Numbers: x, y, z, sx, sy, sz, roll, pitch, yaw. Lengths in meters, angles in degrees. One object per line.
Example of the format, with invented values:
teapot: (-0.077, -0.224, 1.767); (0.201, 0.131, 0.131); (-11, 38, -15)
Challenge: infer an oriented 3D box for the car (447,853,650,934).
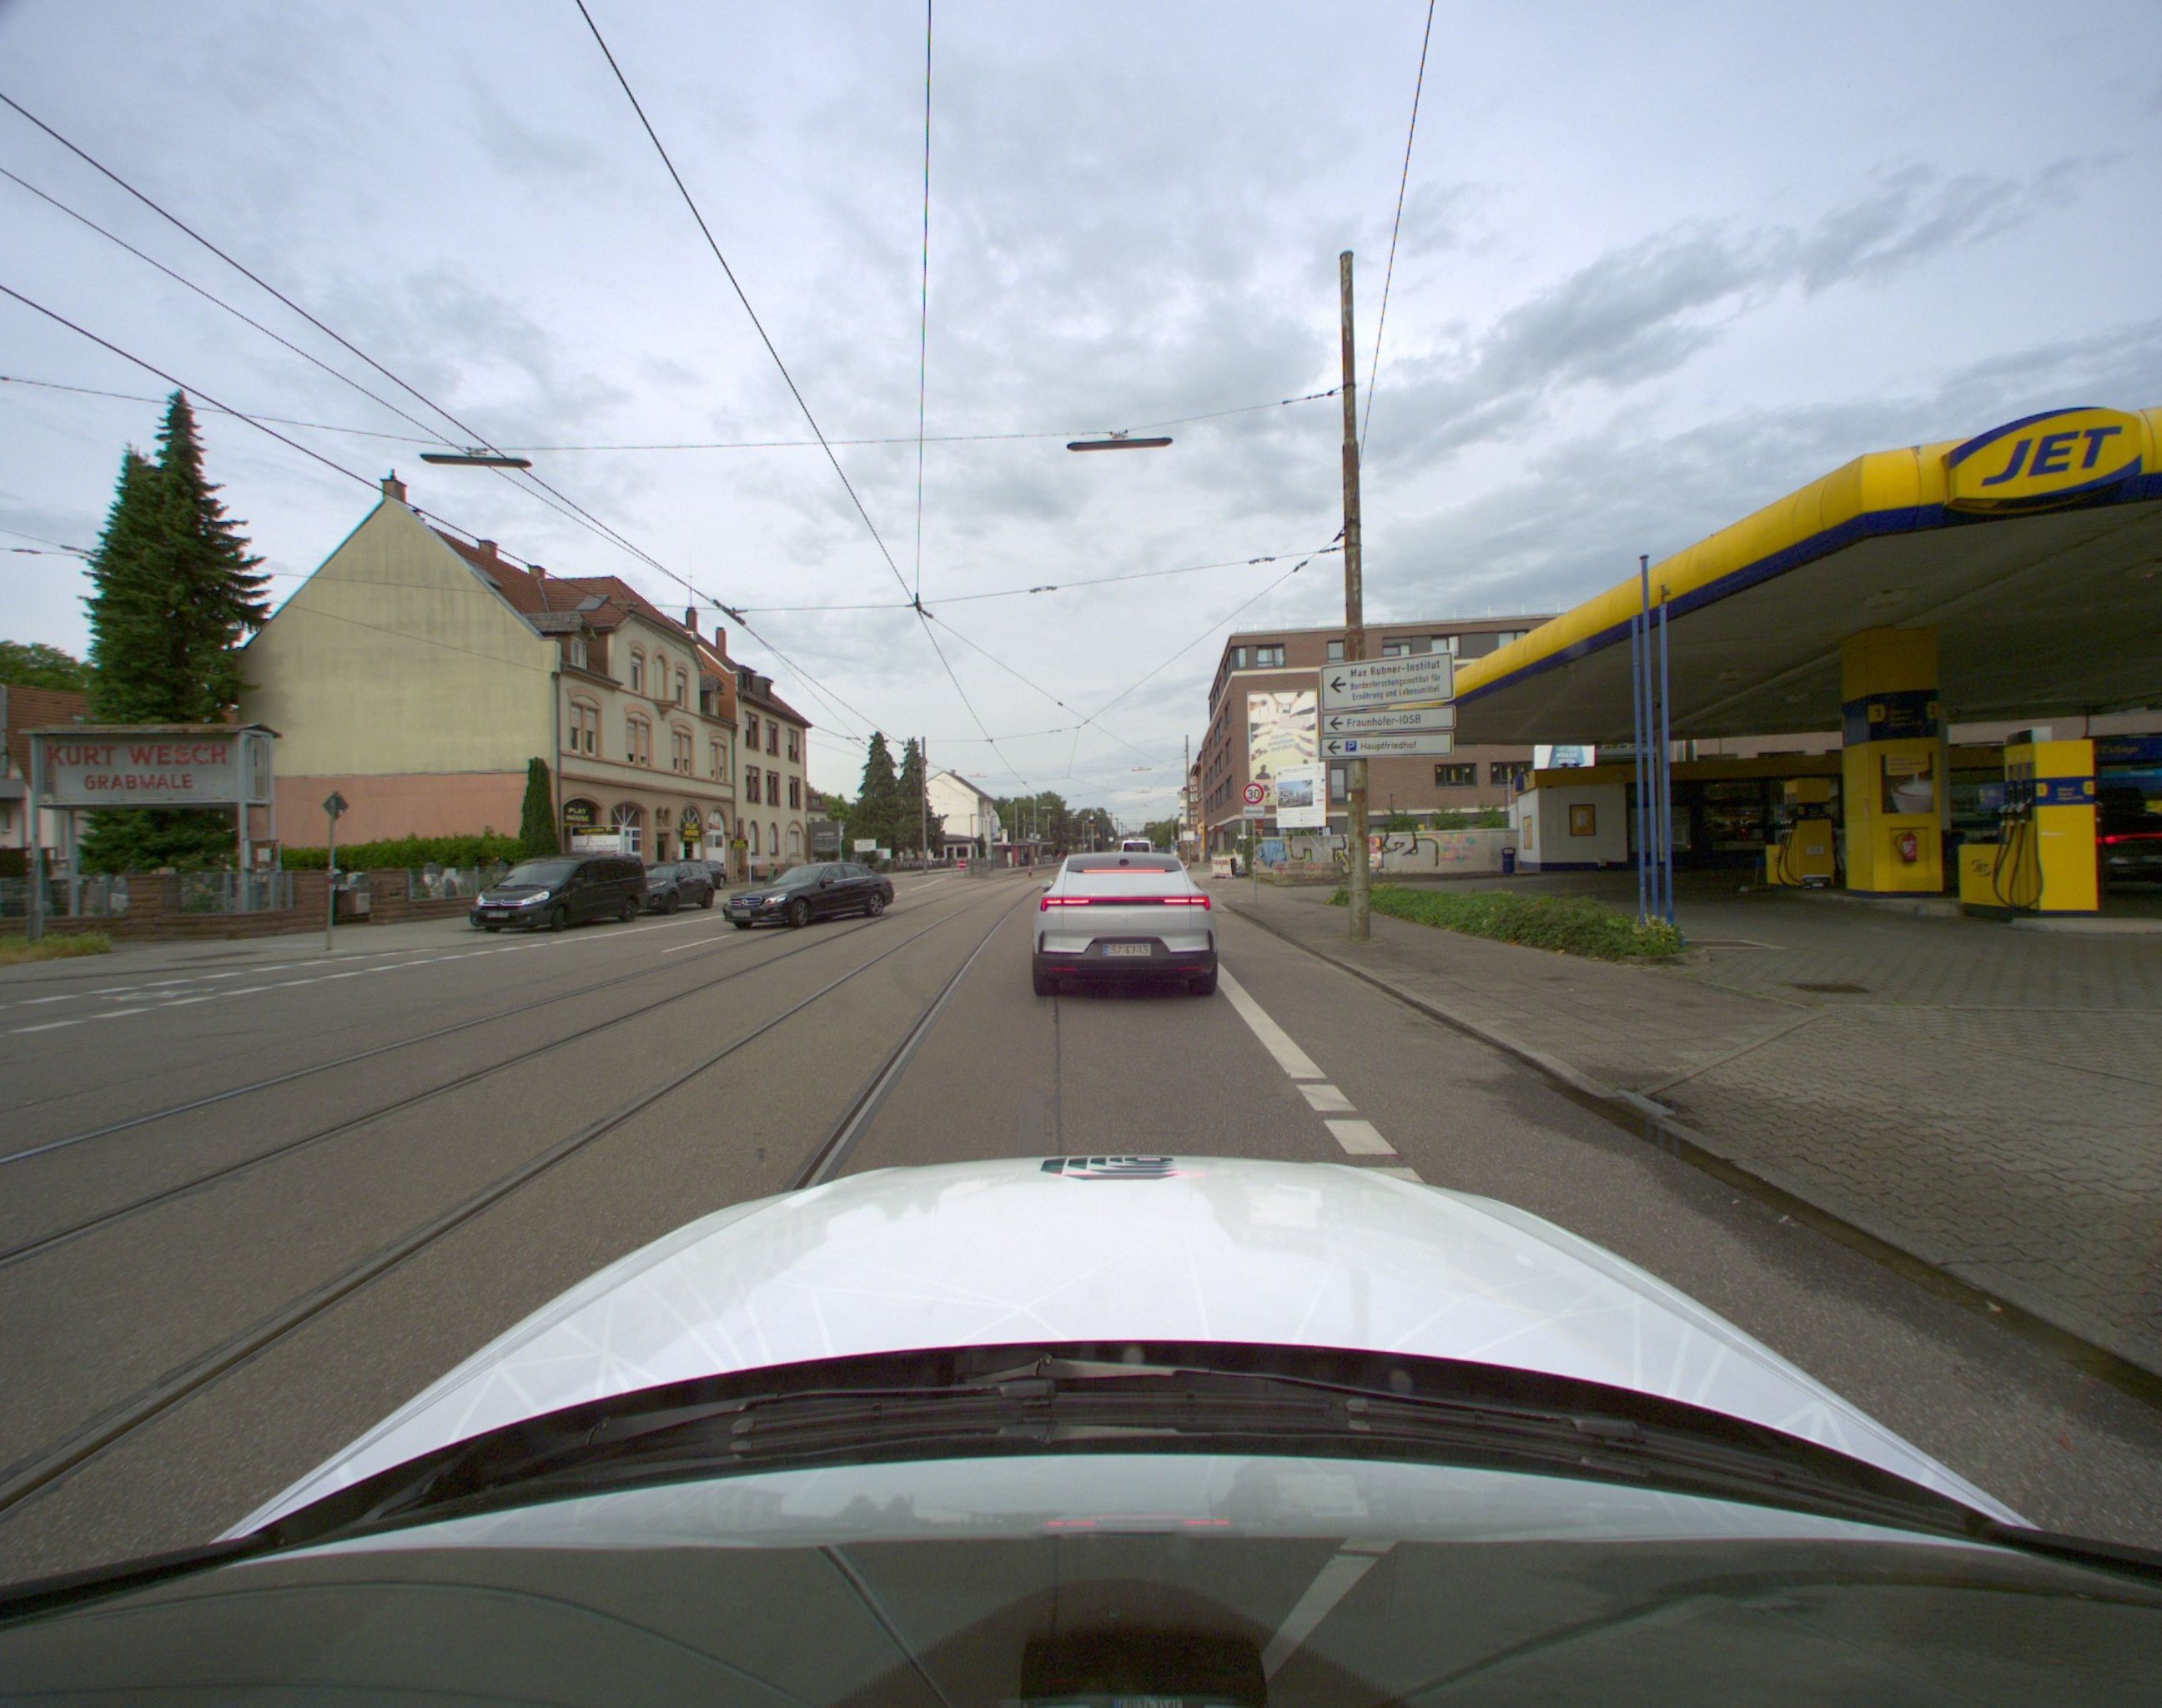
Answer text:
car: (-13.718, 0.936, 21.451); (1.985, 1.887, 4.998); (0, -1, 0)

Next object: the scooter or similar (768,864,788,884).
scooter or similar: (-17.646, 1.154, 47.479); (1.056, 1.188, 0.315); (1, -1, -35)

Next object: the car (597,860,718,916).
car: (-13.953, 1.077, 27.150); (1.839, 1.718, 4.191); (0, -1, -1)

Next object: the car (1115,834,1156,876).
car: (3.276, 0.076, 49.846); (2.209, 2.423, 4.950); (0, -1, 0)

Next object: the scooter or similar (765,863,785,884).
scooter or similar: (-18.007, 1.143, 47.894); (1.056, 1.188, 0.315); (1, -1, -35)

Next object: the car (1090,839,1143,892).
car: (1.361, 0.467, 32.795); (1.987, 2.014, 3.999); (0, -1, 0)

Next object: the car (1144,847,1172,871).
car: (6.116, 0.407, 65.009); (1.868, 1.823, 4.096); (0, -1, 1)

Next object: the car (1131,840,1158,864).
car: (5.802, -0.159, 74.826); (2.132, 2.146, 4.744); (0, -1, 1)

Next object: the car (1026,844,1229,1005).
car: (0.381, 0.681, 9.995); (1.977, 1.550, 4.179); (0, 0, -2)

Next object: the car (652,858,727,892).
car: (-18.491, 0.967, 38.627); (1.748, 1.500, 3.745); (0, -1, -1)

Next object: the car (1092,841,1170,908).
car: (1.342, 0.551, 23.371); (1.963, 1.756, 3.836); (0, -1, -1)

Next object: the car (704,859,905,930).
car: (-6.565, 0.905, 20.022); (1.930, 1.427, 4.912); (-2, 0, 21)

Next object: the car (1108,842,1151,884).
car: (2.385, 0.445, 40.758); (1.986, 2.014, 4.001); (0, -1, 1)

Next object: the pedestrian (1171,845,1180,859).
pedestrian: (14.427, -0.319, 124.111); (1.215, 2.013, 0.934); (-2, 0, 1)

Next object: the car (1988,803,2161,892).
car: (19.801, -0.178, 15.810); (1.970, 1.497, 4.354); (-3, 1, 35)
